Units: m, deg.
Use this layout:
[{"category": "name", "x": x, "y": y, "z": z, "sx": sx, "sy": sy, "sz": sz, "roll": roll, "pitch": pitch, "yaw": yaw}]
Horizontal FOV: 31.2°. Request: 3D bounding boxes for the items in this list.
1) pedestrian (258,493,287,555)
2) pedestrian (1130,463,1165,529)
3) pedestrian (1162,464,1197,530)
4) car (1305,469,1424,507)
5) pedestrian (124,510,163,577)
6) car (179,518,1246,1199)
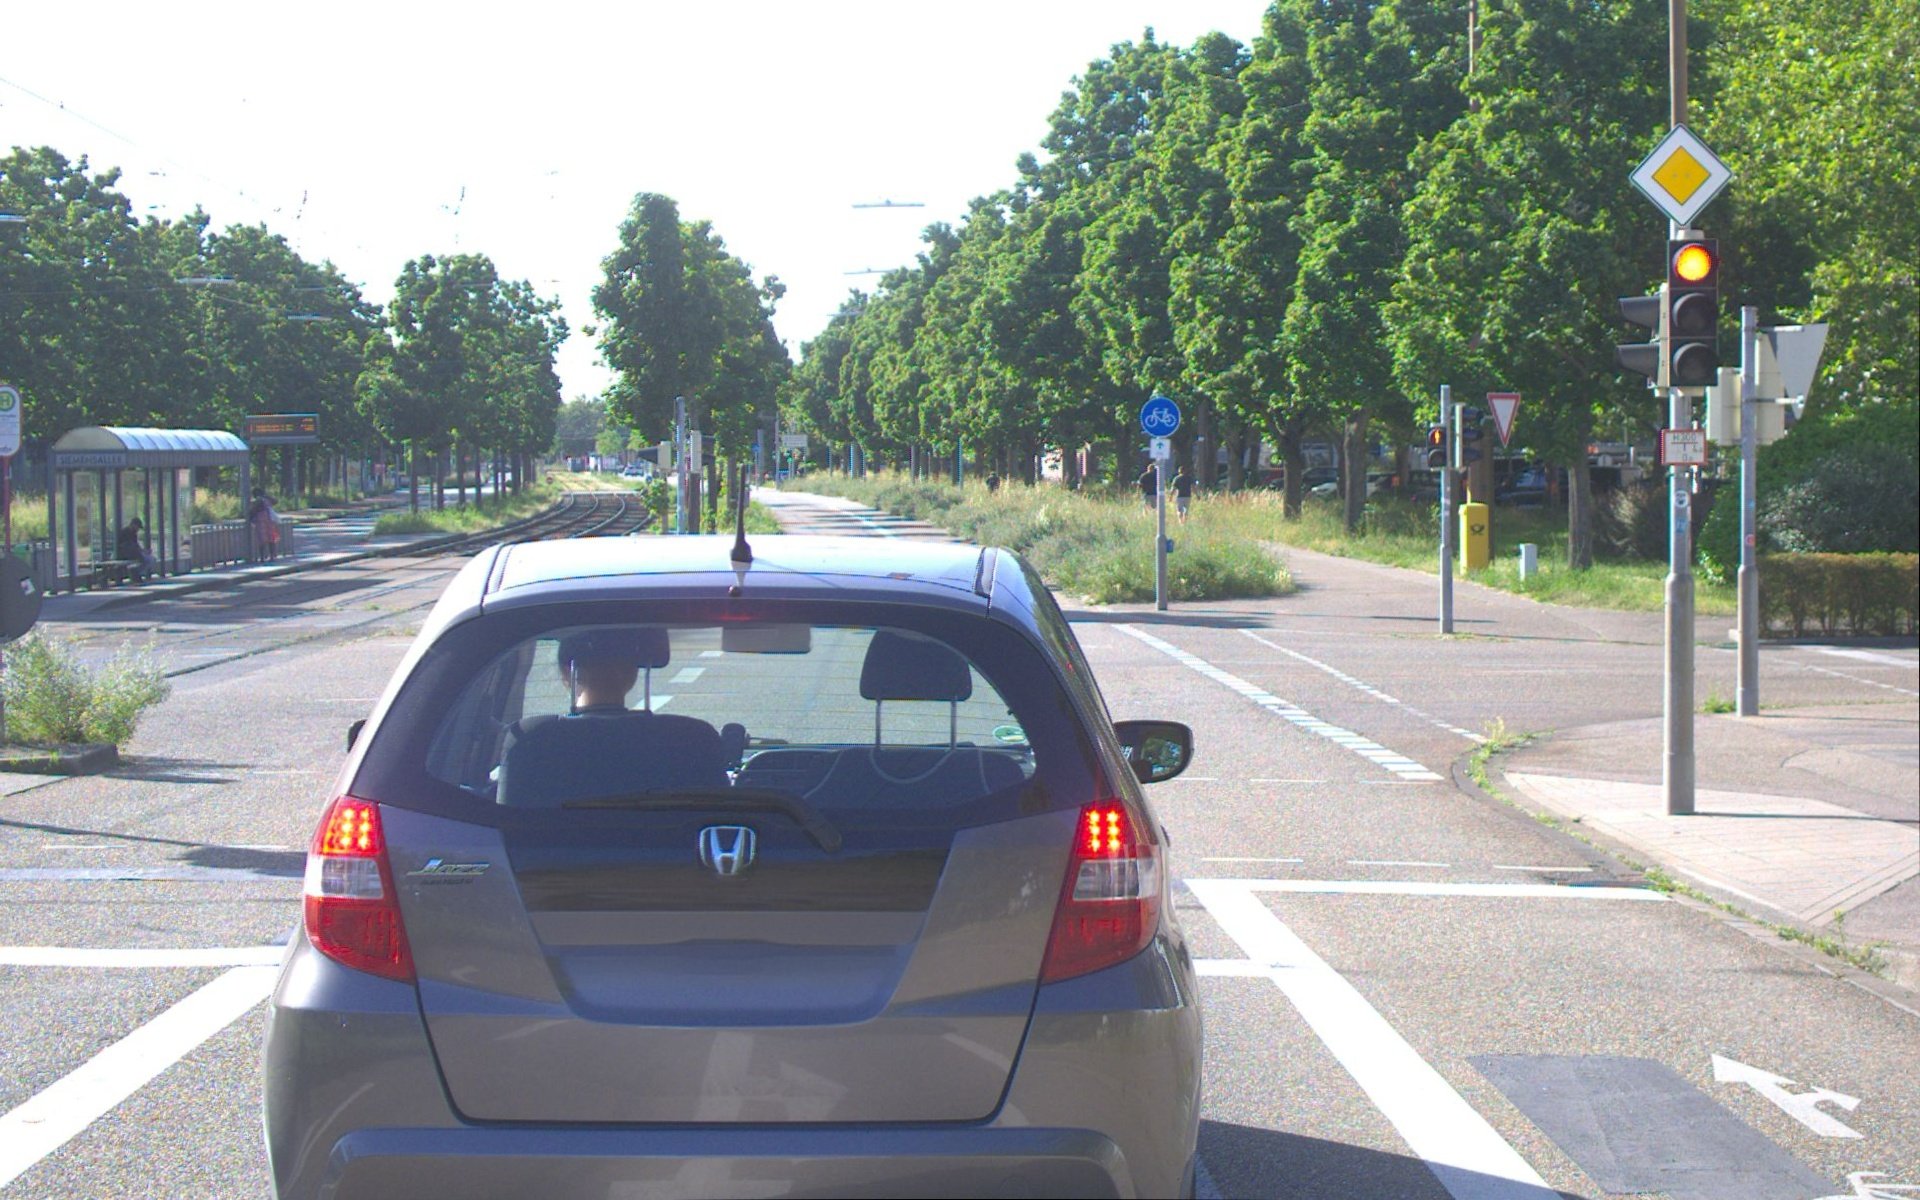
[{"category": "pedestrian", "x": -16.012, "y": -1.769, "z": 80.086, "sx": 0.544, "sy": 1.442, "sz": 0.559, "roll": -1, "pitch": 1, "yaw": -1}, {"category": "pedestrian", "x": 5.384, "y": -2.976, "z": 98.709, "sx": 0.882, "sy": 1.877, "sz": 0.875, "roll": -1, "pitch": 2, "yaw": -4}, {"category": "pedestrian", "x": 6.300, "y": -2.969, "z": 98.883, "sx": 0.882, "sy": 1.877, "sz": 0.875, "roll": -1, "pitch": 2, "yaw": -4}, {"category": "car", "x": 17.011, "y": -4.705, "z": 144.530, "sx": 4.630, "sy": 1.550, "sz": 2.001, "roll": -1, "pitch": 2, "yaw": -6}, {"category": "pedestrian", "x": -15.556, "y": -1.075, "z": 65.533, "sx": 0.563, "sy": 1.252, "sz": 0.581, "roll": -3, "pitch": 1, "yaw": -1}, {"category": "car", "x": -0.419, "y": 0.604, "z": 7.359, "sx": 1.701, "sy": 1.518, "sz": 3.710, "roll": 0, "pitch": 1, "yaw": -1}]
